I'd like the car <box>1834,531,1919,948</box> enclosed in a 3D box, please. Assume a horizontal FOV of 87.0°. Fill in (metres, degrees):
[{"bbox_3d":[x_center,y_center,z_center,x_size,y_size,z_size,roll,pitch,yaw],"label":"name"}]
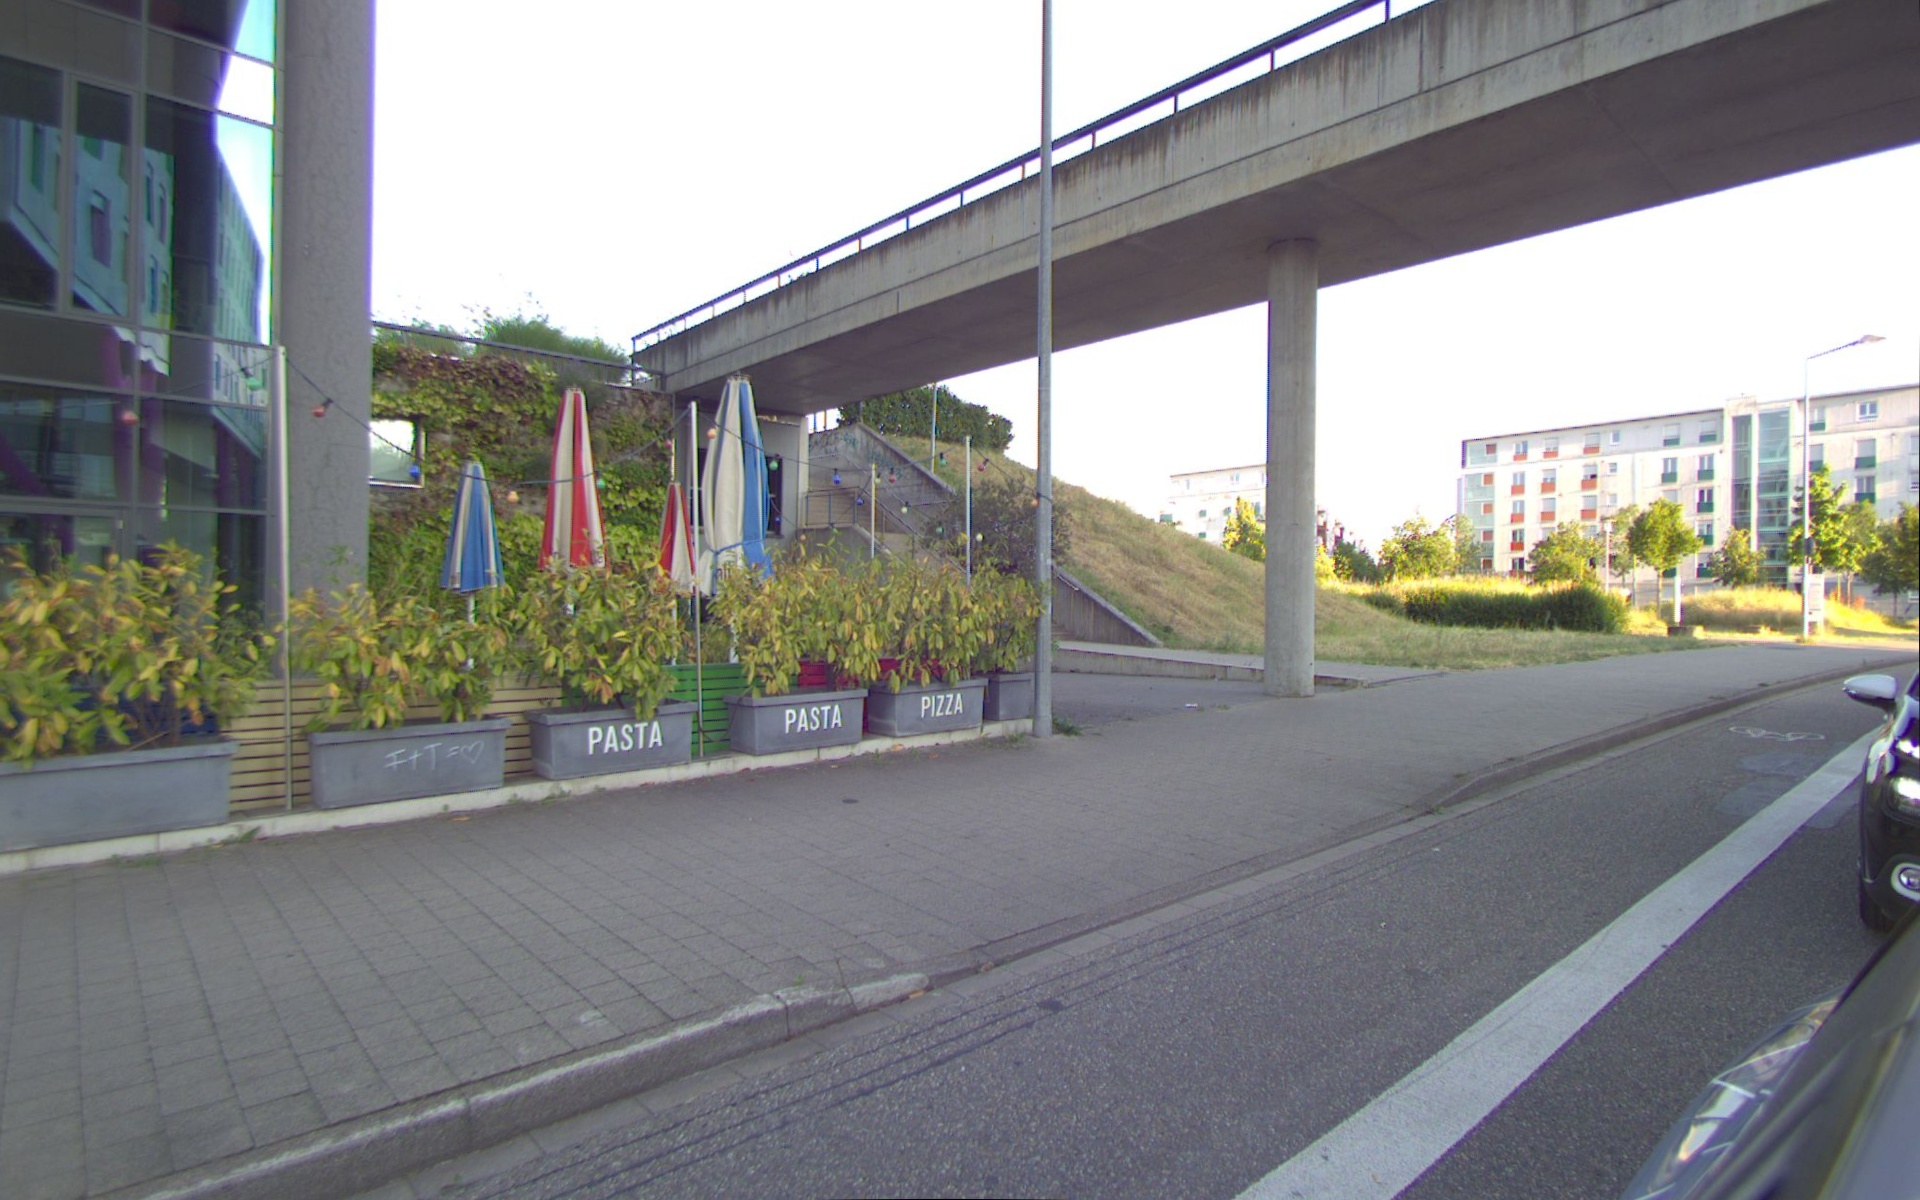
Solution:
[{"bbox_3d":[5.508,0.539,4.731,4.003,1.572,1.757,0,0,-43],"label":"car"}]
